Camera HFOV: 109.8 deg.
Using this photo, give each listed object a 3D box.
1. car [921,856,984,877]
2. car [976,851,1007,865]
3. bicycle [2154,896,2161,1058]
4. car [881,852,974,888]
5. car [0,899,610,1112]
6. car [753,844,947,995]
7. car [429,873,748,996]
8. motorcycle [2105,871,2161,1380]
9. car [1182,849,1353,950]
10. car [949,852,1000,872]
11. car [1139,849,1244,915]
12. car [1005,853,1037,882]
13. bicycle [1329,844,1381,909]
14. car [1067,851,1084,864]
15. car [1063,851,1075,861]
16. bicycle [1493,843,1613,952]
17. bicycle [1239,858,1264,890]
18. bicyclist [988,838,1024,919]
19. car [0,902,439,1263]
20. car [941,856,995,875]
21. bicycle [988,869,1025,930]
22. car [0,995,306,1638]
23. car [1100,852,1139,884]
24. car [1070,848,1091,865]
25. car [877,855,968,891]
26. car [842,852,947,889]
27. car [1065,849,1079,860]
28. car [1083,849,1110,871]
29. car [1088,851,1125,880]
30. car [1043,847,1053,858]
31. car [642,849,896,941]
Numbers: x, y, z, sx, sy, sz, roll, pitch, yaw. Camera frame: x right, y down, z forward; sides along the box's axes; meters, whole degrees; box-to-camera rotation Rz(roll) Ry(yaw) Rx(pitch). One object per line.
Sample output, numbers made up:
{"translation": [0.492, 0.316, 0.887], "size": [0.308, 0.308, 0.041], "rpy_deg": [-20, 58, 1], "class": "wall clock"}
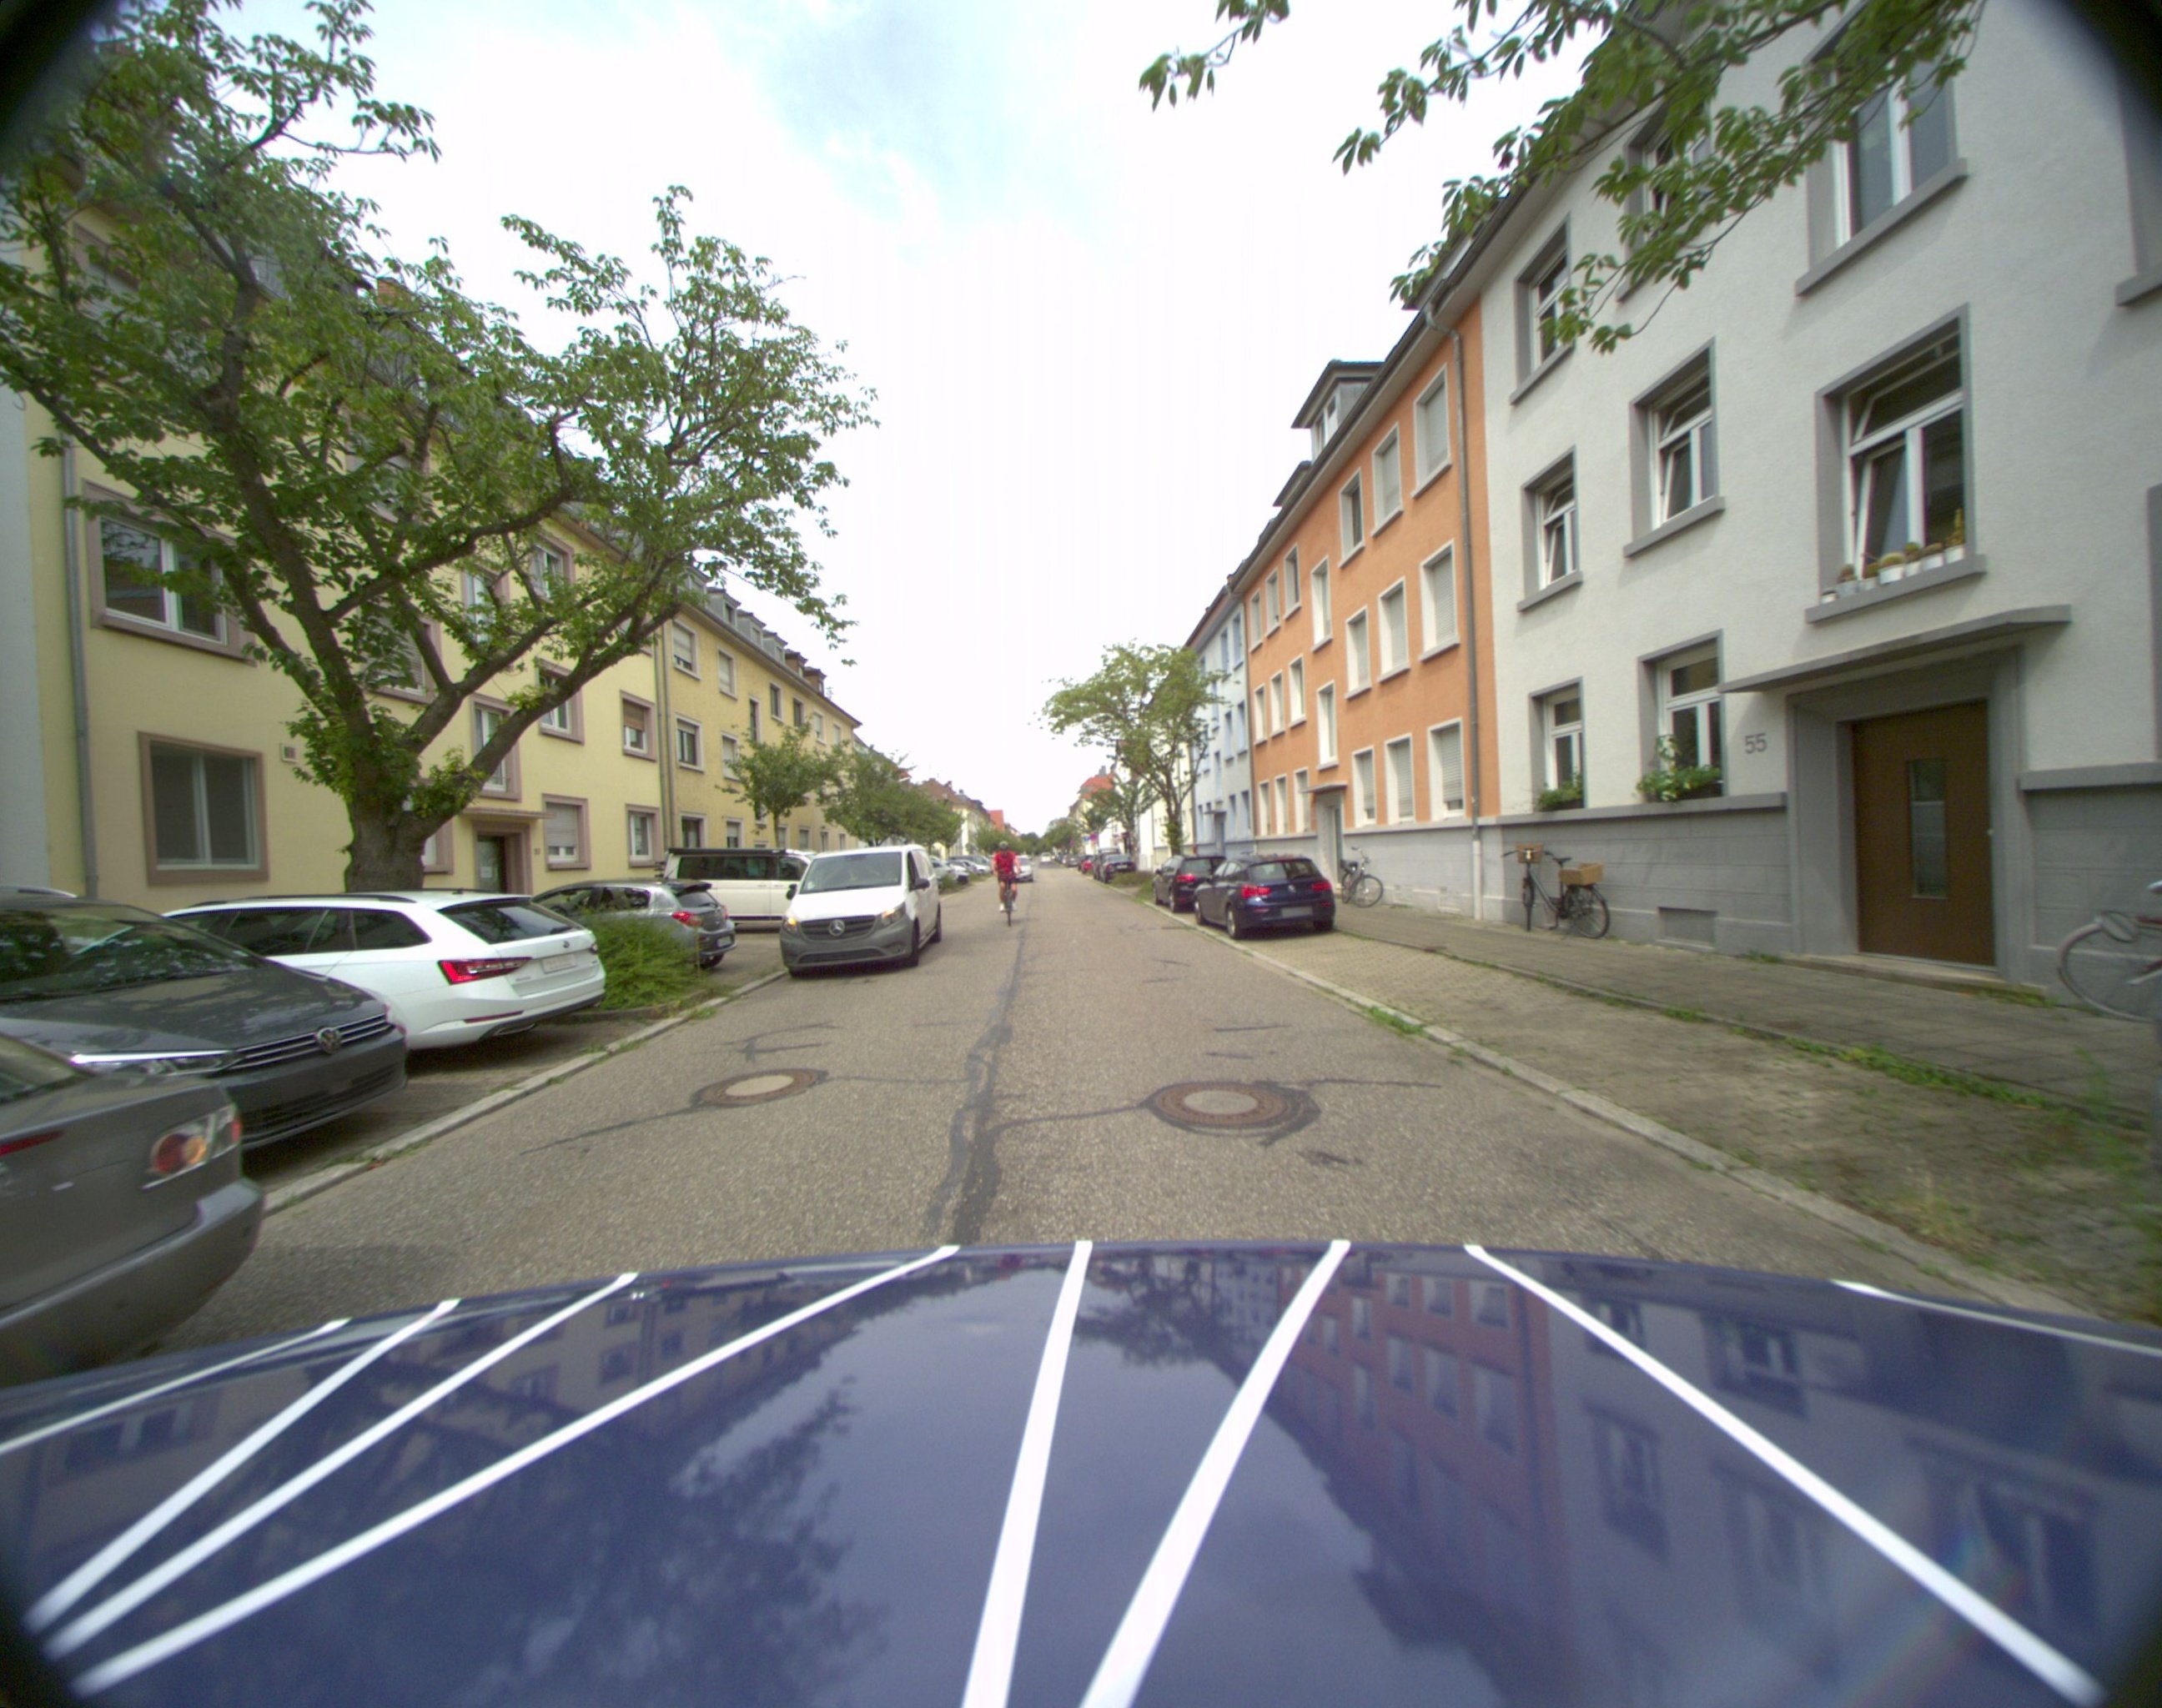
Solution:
{"translation": [-9.385, 0.904, 55.920], "size": [4.405, 1.491, 1.710], "rpy_deg": [0, 1, -4], "class": "car"}
{"translation": [-10.370, 0.479, 87.914], "size": [3.442, 1.438, 1.646], "rpy_deg": [-3, 1, -6], "class": "car"}
{"translation": [6.587, 0.736, 3.820], "size": [0.310, 0.961, 1.434], "rpy_deg": [0, 1, -2], "class": "bicycle"}
{"translation": [-8.364, 0.862, 41.688], "size": [4.752, 1.899, 1.850], "rpy_deg": [0, 1, -3], "class": "car"}
{"translation": [-6.539, 1.165, 6.448], "size": [3.998, 1.412, 1.637], "rpy_deg": [0, 1, -3], "class": "car"}
{"translation": [-3.534, 0.854, 12.648], "size": [1.999, 1.904, 4.701], "rpy_deg": [-4, 1, -5], "class": "car"}
{"translation": [-7.086, 1.112, 11.270], "size": [3.488, 1.565, 1.813], "rpy_deg": [0, 1, -4], "class": "car"}
{"translation": [3.750, 0.785, 2.203], "size": [2.022, 1.399, 0.790], "rpy_deg": [-1, 1, -40], "class": "motorcycle"}
{"translation": [3.325, 0.725, 14.448], "size": [1.841, 1.475, 4.118], "rpy_deg": [-5, 1, -5], "class": "car"}
{"translation": [-10.200, 0.784, 73.105], "size": [4.721, 1.817, 1.870], "rpy_deg": [0, 1, -3], "class": "car"}
{"translation": [2.851, 0.668, 20.513], "size": [1.842, 1.475, 4.091], "rpy_deg": [-4, 1, -5], "class": "car"}
{"translation": [-3.600, 0.780, 46.506], "size": [1.789, 1.595, 4.834], "rpy_deg": [-2, 1, -3], "class": "car"}
{"translation": [5.938, 0.457, 16.535], "size": [0.430, 1.326, 1.811], "rpy_deg": [0, 1, -1], "class": "bicycle"}
{"translation": [-0.603, 0.380, 88.309], "size": [1.712, 1.439, 3.441], "rpy_deg": [0, 1, -5], "class": "car"}
{"translation": [-1.814, 0.281, 117.117], "size": [1.711, 1.495, 3.442], "rpy_deg": [0, 1, -3], "class": "car"}
{"translation": [6.200, 0.517, 10.101], "size": [0.430, 1.326, 1.811], "rpy_deg": [0, 1, -1], "class": "bicycle"}
{"translation": [5.497, 0.631, 24.566], "size": [0.368, 0.990, 1.569], "rpy_deg": [-1, 1, -3], "class": "bicycle"}
{"translation": [-1.701, 0.541, 17.398], "size": [0.694, 1.760, 0.986], "rpy_deg": [-3, 1, -3], "class": "bicyclist"}
{"translation": [-6.318, 1.116, 4.213], "size": [3.998, 1.527, 1.637], "rpy_deg": [0, 1, -3], "class": "car"}
{"translation": [-9.579, 0.937, 64.774], "size": [4.404, 1.528, 1.870], "rpy_deg": [0, 1, -3], "class": "car"}
{"translation": [-1.673, 0.999, 17.373], "size": [0.693, 1.221, 1.936], "rpy_deg": [-3, 1, -3], "class": "bicycle"}
{"translation": [-4.676, 1.238, 1.655], "size": [3.998, 1.446, 1.766], "rpy_deg": [0, 1, -3], "class": "car"}
{"translation": [1.962, 0.685, 39.823], "size": [1.706, 1.533, 4.247], "rpy_deg": [-1, 1, -2], "class": "car"}
{"translation": [-0.062, 0.245, 70.072], "size": [1.712, 1.477, 3.441], "rpy_deg": [0, 1, -5], "class": "car"}
{"translation": [-8.101, 0.949, 39.084], "size": [4.319, 1.674, 1.849], "rpy_deg": [0, 2, -3], "class": "car"}
{"translation": [-8.425, 0.730, 34.632], "size": [4.319, 1.588, 1.850], "rpy_deg": [0, 1, -3], "class": "car"}
{"translation": [-1.199, 0.047, 102.033], "size": [1.711, 1.495, 3.442], "rpy_deg": [0, 1, -3], "class": "car"}
{"translation": [1.165, 0.427, 59.376], "size": [1.712, 1.591, 4.114], "rpy_deg": [0, 1, -5], "class": "car"}
{"translation": [1.487, 0.646, 45.832], "size": [1.698, 1.573, 4.247], "rpy_deg": [-3, 1, -4], "class": "car"}
{"translation": [-6.473, -0.315, 148.862], "size": [1.757, 2.098, 3.619], "rpy_deg": [0, 1, -3], "class": "car"}
{"translation": [-7.292, 0.903, 18.314], "size": [5.245, 2.011, 2.072], "rpy_deg": [0, 1, -7], "class": "car"}
